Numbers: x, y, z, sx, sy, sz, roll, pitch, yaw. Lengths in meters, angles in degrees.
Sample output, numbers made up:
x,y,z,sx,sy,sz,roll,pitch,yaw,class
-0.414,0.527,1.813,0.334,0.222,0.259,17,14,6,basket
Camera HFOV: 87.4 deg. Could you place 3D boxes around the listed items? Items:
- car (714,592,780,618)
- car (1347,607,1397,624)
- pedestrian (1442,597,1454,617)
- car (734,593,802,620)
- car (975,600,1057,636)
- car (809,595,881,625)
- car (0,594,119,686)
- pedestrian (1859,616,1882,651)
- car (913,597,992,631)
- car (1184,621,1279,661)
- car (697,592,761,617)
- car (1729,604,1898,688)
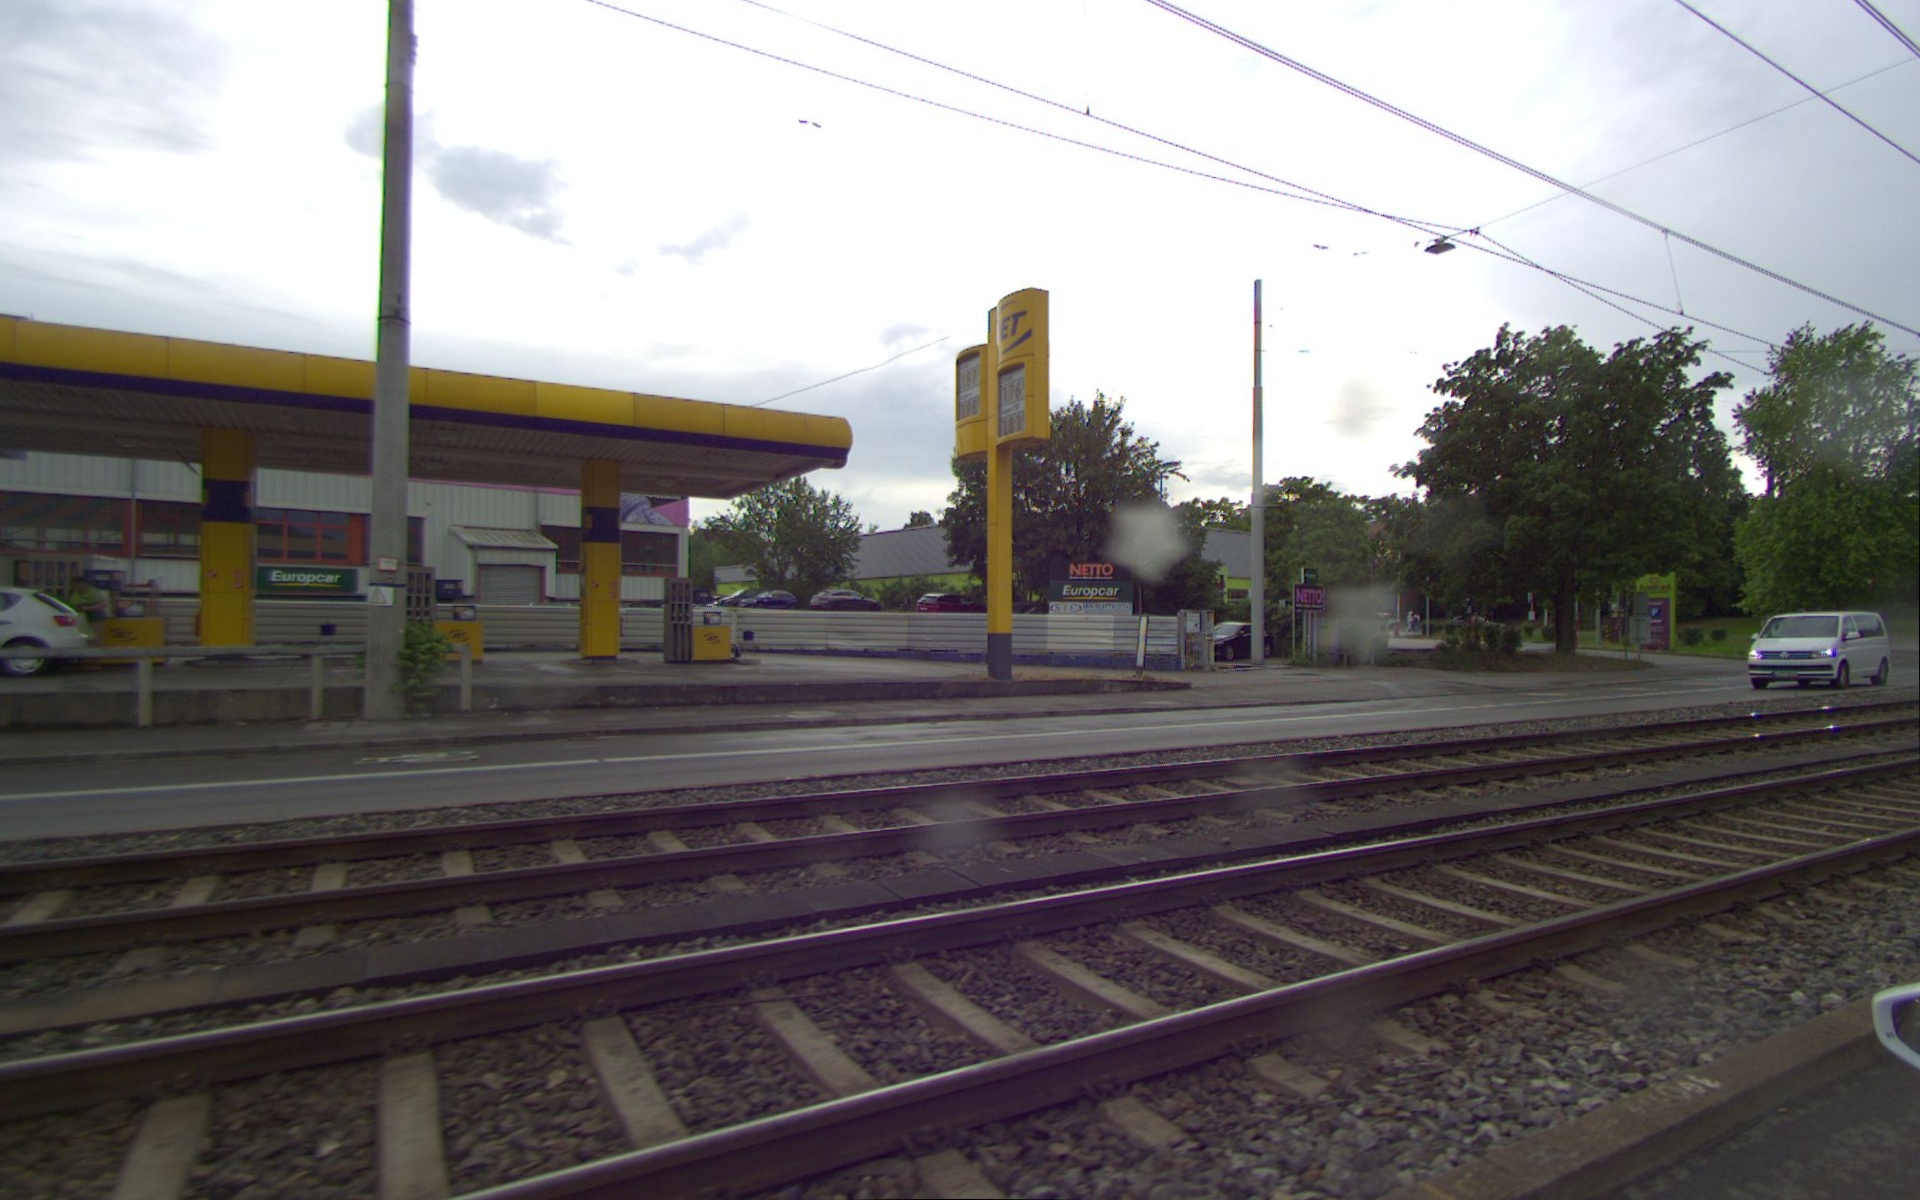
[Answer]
x,y,z,sx,sy,sz,roll,pitch,yaw,class
-14.438,0.368,68.096,3.967,1.633,1.850,2,-1,-40,car
40.878,1.509,99.735,1.829,1.554,4.151,1,0,-42,car
40.267,0.584,82.858,0.598,1.623,0.673,2,0,-25,pedestrian
-12.626,0.405,66.036,3.967,1.633,1.850,2,-1,-40,car
2.826,0.898,50.402,3.966,1.673,1.672,2,0,-39,car
-6.893,0.599,60.310,3.966,1.639,1.672,2,-1,-39,car
-16.263,0.614,16.106,4.032,1.434,1.760,2,0,-33,car
41.459,1.532,45.716,0.661,1.552,0.588,2,0,-32,pedestrian
-0.377,0.749,52.986,3.966,1.639,1.672,2,-1,-39,car
10.982,1.662,40.505,3.966,1.476,1.672,2,-1,-39,car
-16.151,0.303,70.368,3.967,1.633,1.850,2,-1,-40,car
22.730,1.196,26.710,5.005,2.040,1.983,0,-3,-33,car
